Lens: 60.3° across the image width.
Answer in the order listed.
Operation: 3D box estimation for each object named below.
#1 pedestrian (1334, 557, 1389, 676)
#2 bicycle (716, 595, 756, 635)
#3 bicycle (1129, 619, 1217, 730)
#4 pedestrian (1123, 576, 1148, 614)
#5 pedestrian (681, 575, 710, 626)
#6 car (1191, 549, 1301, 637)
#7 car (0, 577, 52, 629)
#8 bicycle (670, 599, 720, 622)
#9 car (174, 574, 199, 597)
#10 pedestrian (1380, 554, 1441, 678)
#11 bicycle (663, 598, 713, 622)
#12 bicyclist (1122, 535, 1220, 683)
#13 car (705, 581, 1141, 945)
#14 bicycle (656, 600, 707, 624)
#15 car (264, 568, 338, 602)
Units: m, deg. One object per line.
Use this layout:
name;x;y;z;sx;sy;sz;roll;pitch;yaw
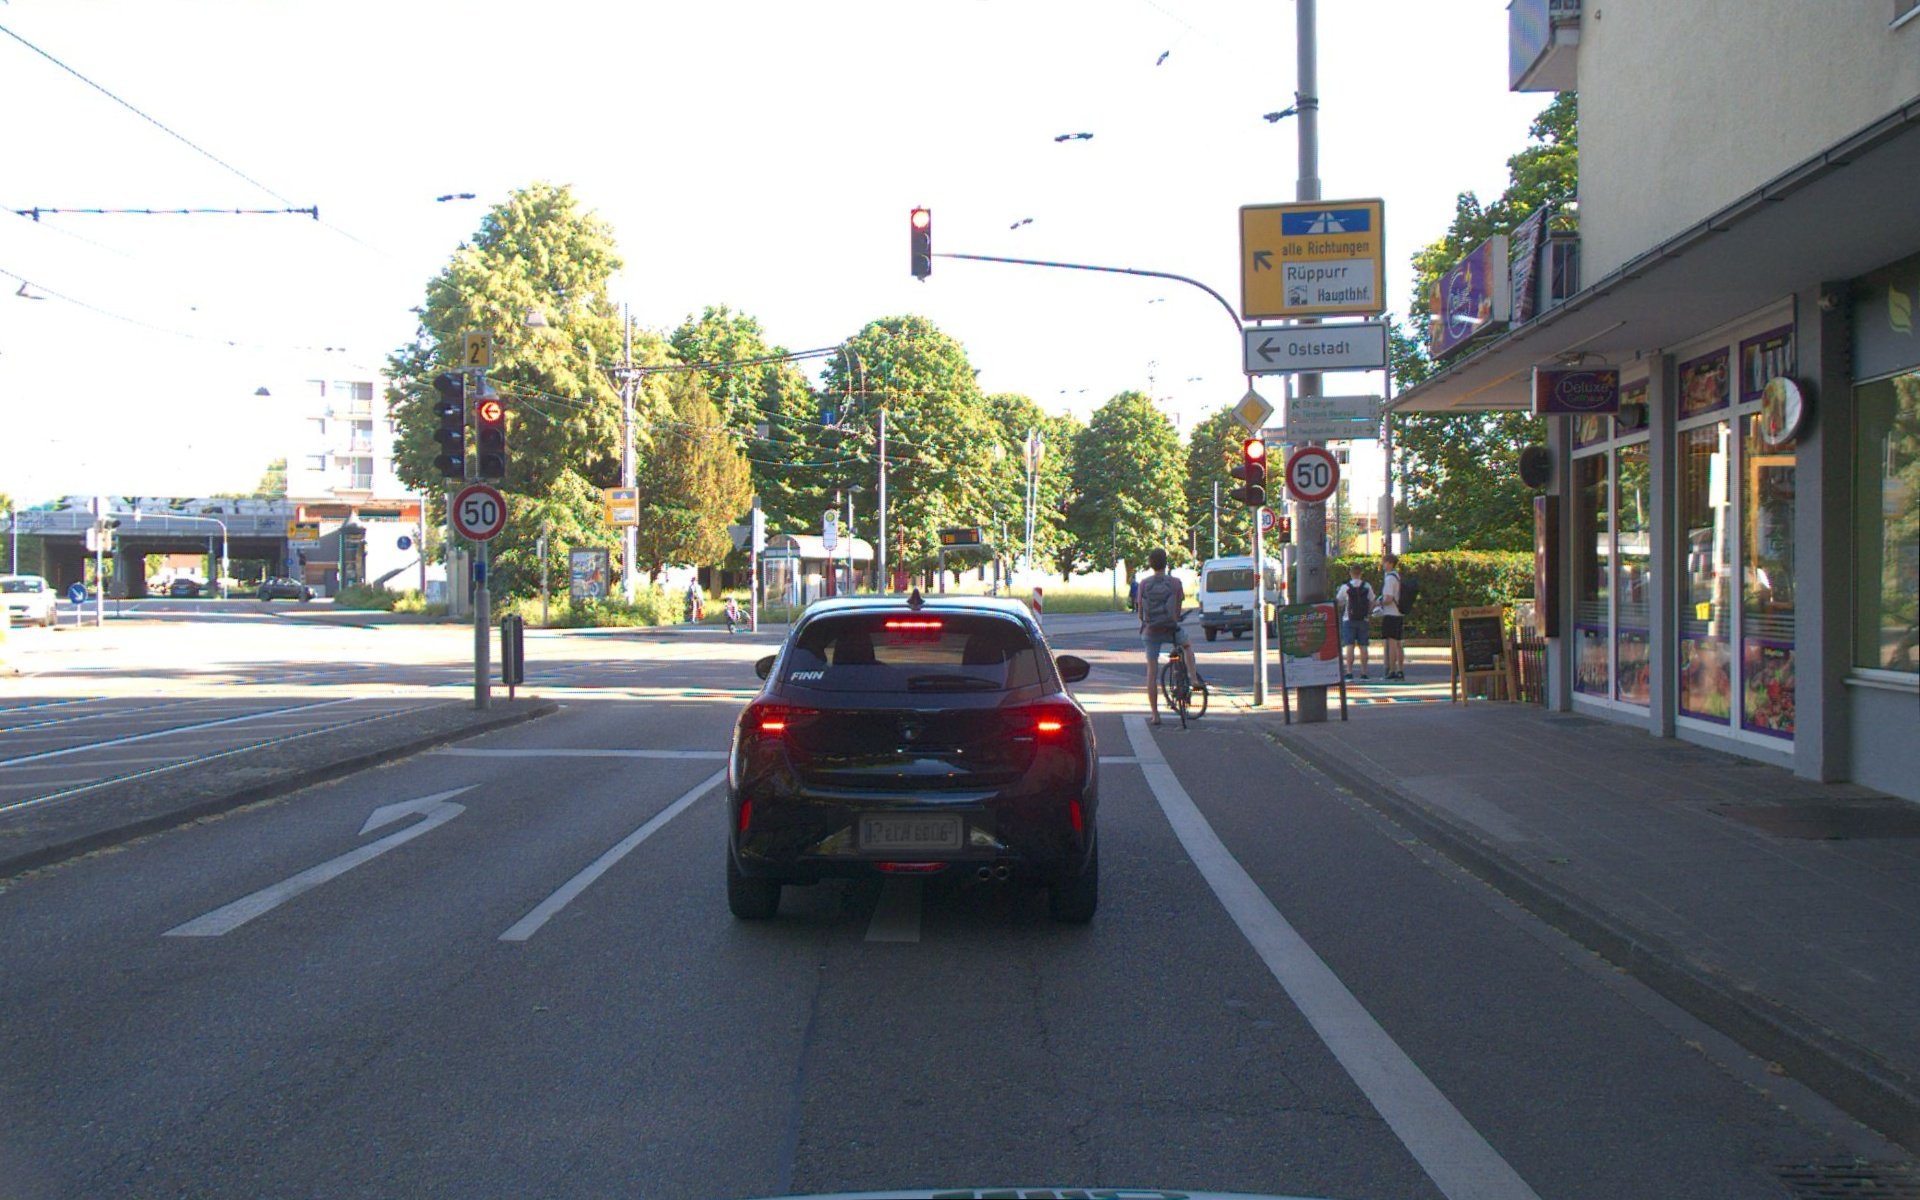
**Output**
pedestrian;6.213;0.250;25.594;0.684;1.823;0.617;0;0;-1
bicycle;-6.281;0.402;46.516;0.808;1.078;1.883;0;1;2
bicycle;2.279;0.771;17.885;0.653;1.078;2.082;0;1;-1
pedestrian;8.495;-0.264;80.171;0.939;1.824;0.995;0;0;25
pedestrian;-9.082;0.009;56.761;0.711;1.722;0.700;0;0;27
car;8.032;-0.178;46.133;2.047;2.317;4.304;1;0;23
car;-31.543;0.071;55.110;1.975;1.660;4.578;-1;1;-33
bicycle;-10.497;0.408;65.514;1.837;0.922;0.660;0;0;6
car;-70.762;-1.341;151.332;1.970;2.049;3.965;1;0;-27
pedestrian;6.983;0.235;25.632;0.691;1.878;0.697;0;0;39
bicycle;-10.630;0.402;64.641;1.837;0.922;0.660;0;0;6
bicyclist;2.264;0.081;17.891;0.823;1.536;1.368;0;0;-3
car;-0.125;0.640;8.683;1.763;1.466;3.940;0;1;1
bicycle;-10.710;0.458;63.655;1.837;0.922;0.660;0;0;6
car;-42.256;-0.947;106.090;3.904;2.049;2.000;1;0;2
